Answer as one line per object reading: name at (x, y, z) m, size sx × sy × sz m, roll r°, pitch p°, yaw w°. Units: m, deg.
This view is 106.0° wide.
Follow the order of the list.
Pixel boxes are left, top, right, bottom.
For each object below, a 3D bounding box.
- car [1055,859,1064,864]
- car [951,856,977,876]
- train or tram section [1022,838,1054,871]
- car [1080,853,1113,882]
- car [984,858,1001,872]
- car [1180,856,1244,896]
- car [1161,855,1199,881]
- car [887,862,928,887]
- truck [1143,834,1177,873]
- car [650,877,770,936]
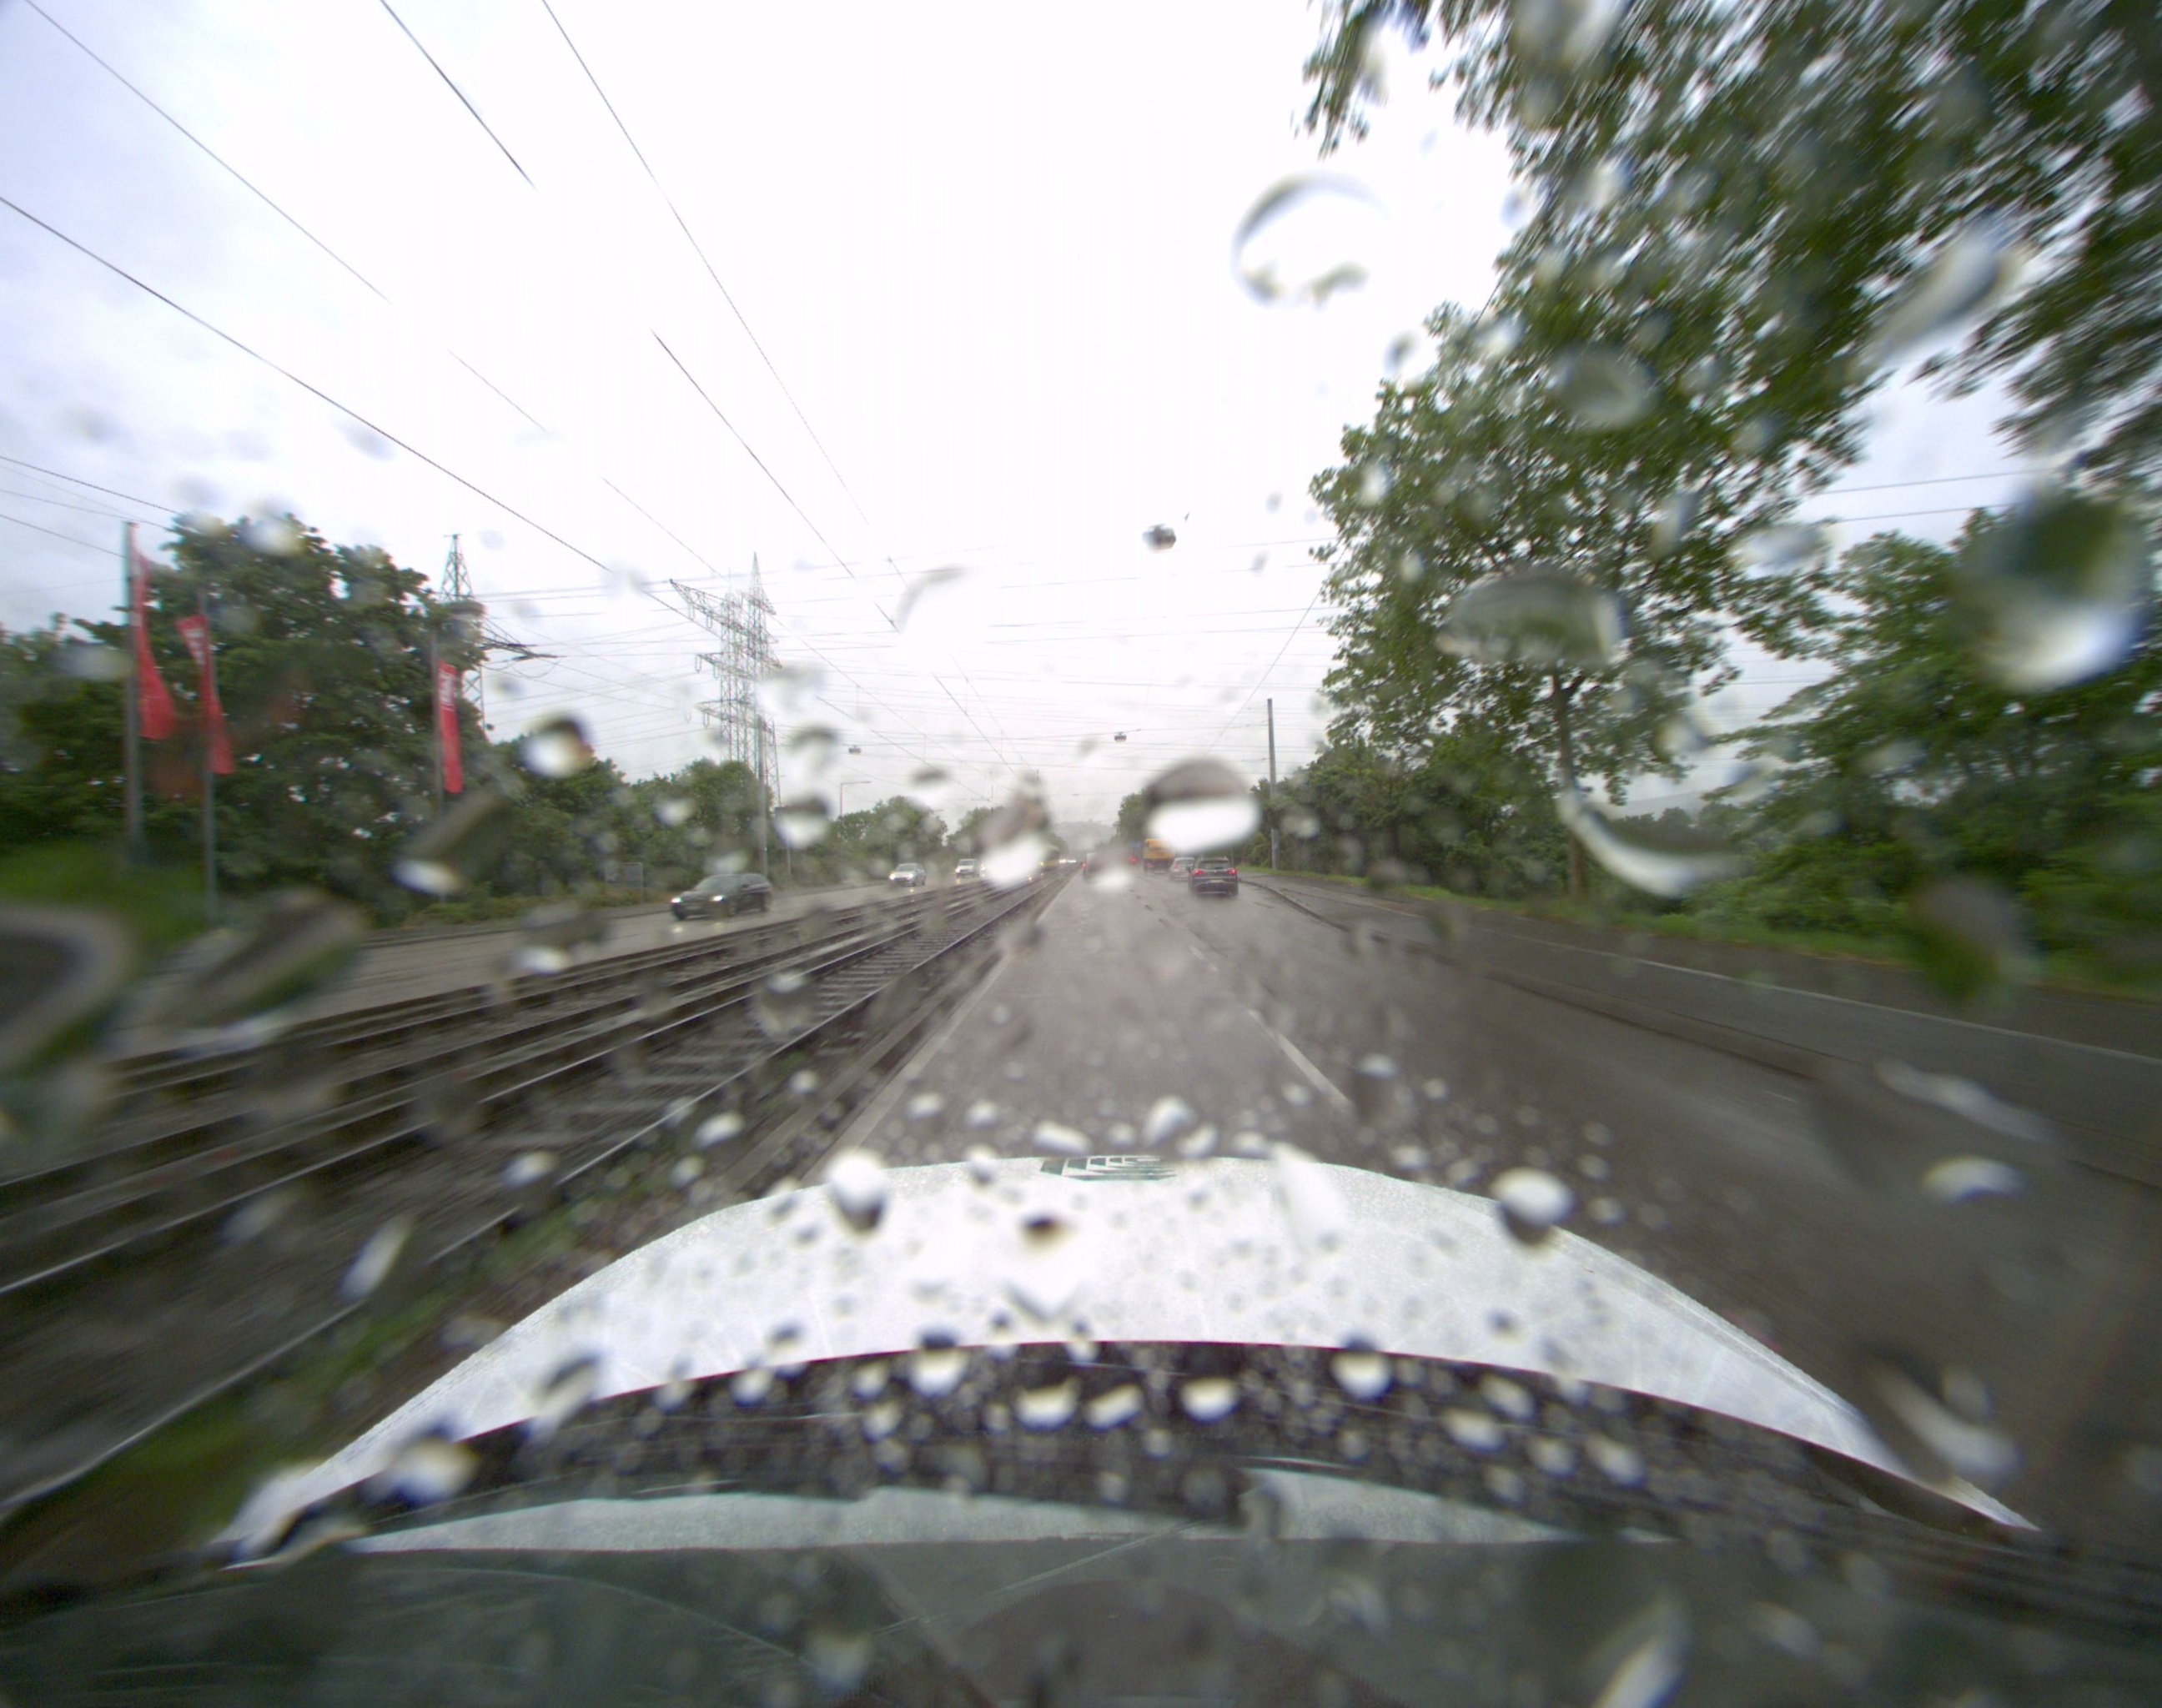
car at (-6.460, 2.256, 242.637) m, size 1.985 × 1.464 × 5.256 m, roll -4°, pitch 0°, yaw 3°
car at (-12.116, 1.219, 84.795) m, size 1.880 × 1.884 × 4.624 m, roll -1°, pitch 0°, yaw 2°
train or tram section at (-5.221, -0.037, 101.654) m, size 2.855 × 3.705 × 17.889 m, roll -1°, pitch 0°, yaw 0°
car at (0.989, 0.803, 50.953) m, size 1.982 × 1.684 × 3.741 m, roll -1°, pitch 0°, yaw 2°
car at (-11.462, 1.401, 105.702) m, size 1.661 × 1.723 × 3.732 m, roll -1°, pitch 0°, yaw 0°
car at (4.946, 0.792, 31.195) m, size 1.881 × 1.357 × 4.279 m, roll -1°, pitch 0°, yaw 2°
car at (6.094, 0.816, 50.574) m, size 1.622 × 1.503 × 4.602 m, roll -1°, pitch 0°, yaw -2°
car at (-12.467, 1.448, 58.784) m, size 1.880 × 1.642 × 4.349 m, roll -1°, pitch 0°, yaw 2°
truck at (6.907, -0.044, 72.266) m, size 2.546 × 3.257 × 6.936 m, roll -1°, pitch 0°, yaw 2°
car at (-12.307, 1.672, 27.364) m, size 1.880 × 1.642 × 4.399 m, roll -1°, pitch 0°, yaw 2°
